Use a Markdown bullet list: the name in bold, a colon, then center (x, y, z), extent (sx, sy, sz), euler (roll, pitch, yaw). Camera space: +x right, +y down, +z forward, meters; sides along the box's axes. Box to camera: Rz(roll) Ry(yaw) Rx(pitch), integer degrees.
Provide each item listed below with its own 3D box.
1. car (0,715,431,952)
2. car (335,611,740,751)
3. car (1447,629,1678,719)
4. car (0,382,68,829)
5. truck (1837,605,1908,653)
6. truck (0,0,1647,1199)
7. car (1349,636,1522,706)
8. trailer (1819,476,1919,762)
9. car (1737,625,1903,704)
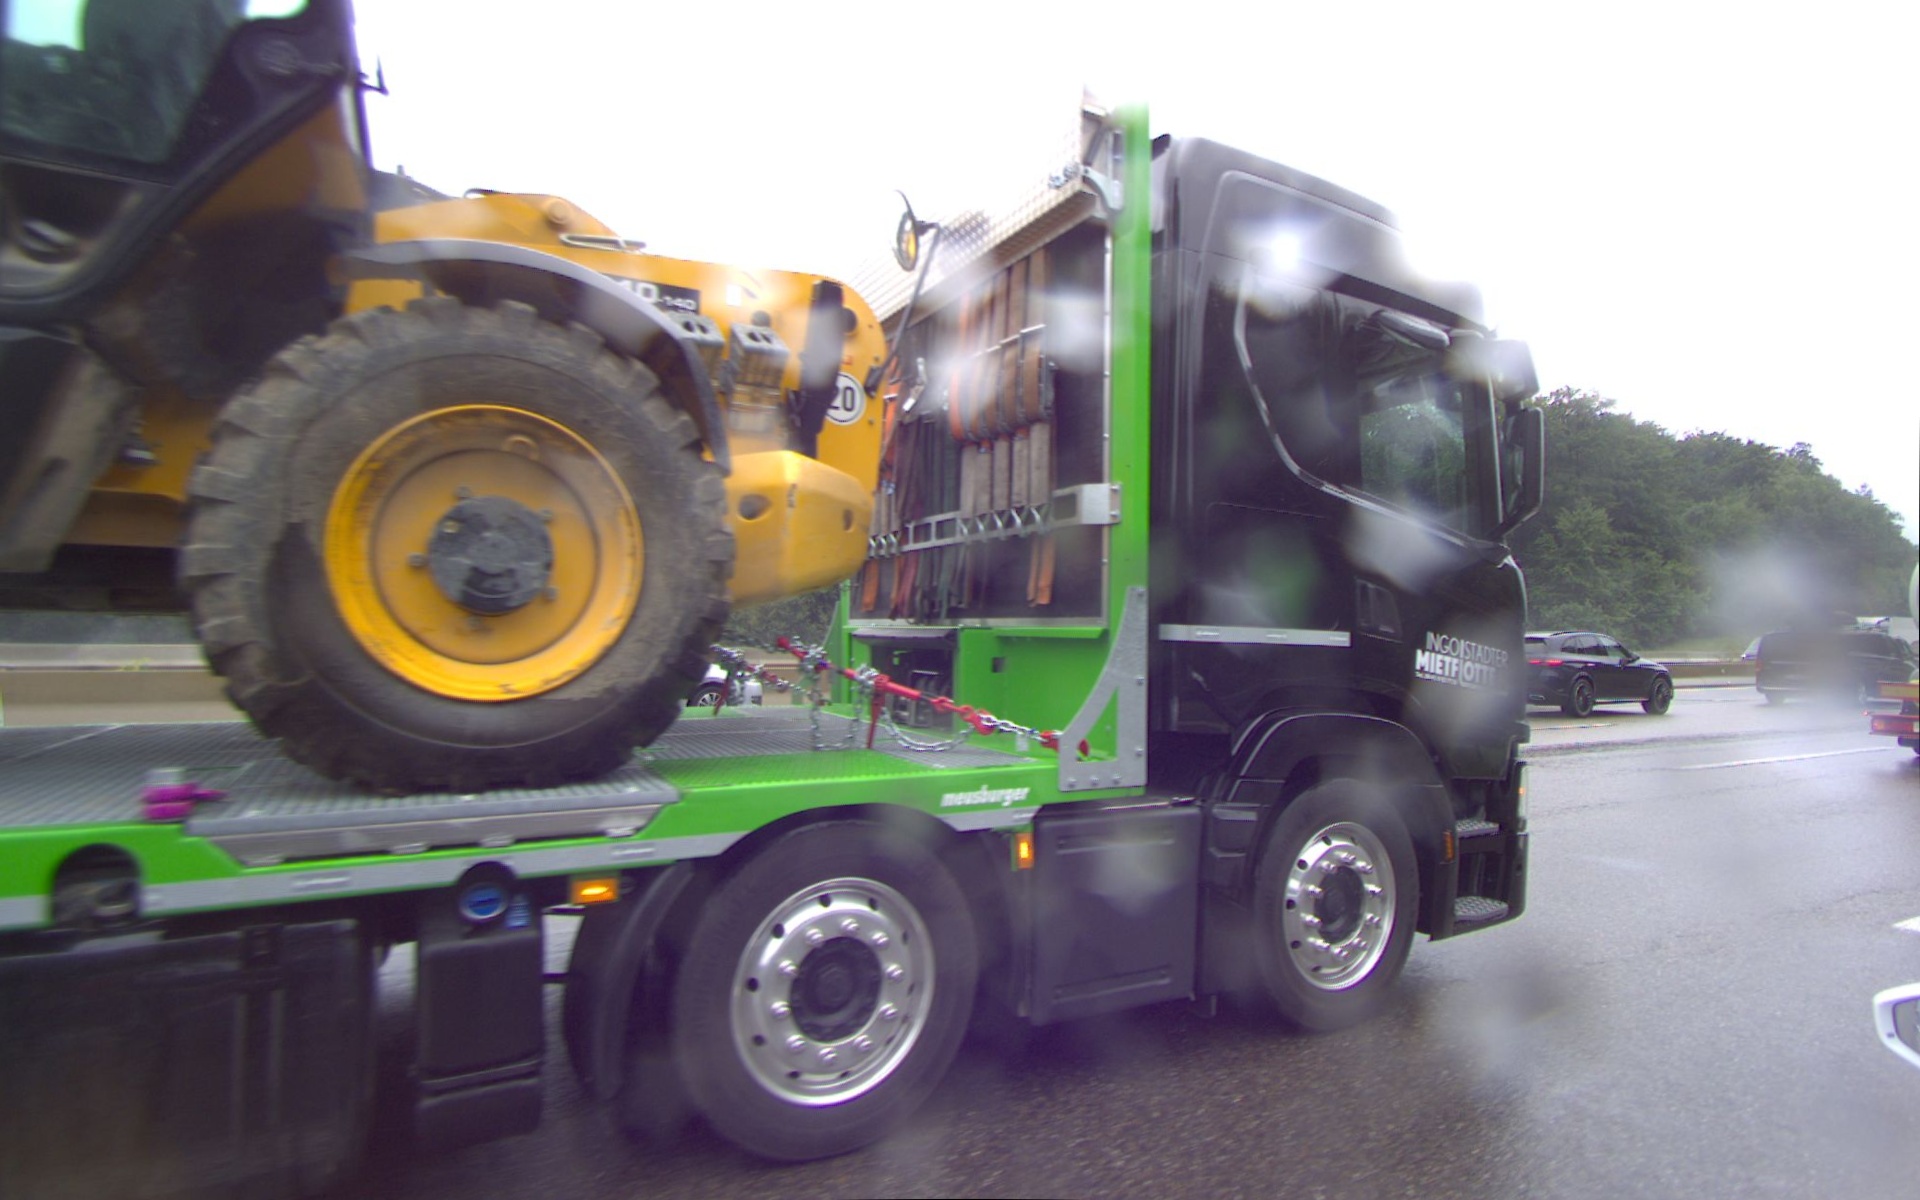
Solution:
- **car**: center (-7.811, 2.284, 10.539), extent (3.950, 1.841, 1.882), euler (2, 0, -28)
- **car**: center (-5.900, 1.076, 14.368), extent (5.022, 1.706, 1.984), euler (2, -2, -30)
- **car**: center (12.158, 1.420, 20.206), extent (4.752, 1.615, 1.984), euler (2, -2, -31)
- **car**: center (-8.221, -0.062, 4.536), extent (5.769, 2.664, 2.207), euler (3, -2, -27)
- **truck**: center (78.169, 2.514, 86.011), extent (7.153, 4.001, 2.439), euler (2, 0, -30)
- **truck**: center (-2.855, -0.426, 2.716), extent (11.652, 3.635, 2.820), euler (2, -2, -29)
- **car**: center (11.486, 1.672, 24.232), extent (3.953, 1.528, 1.874), euler (2, -2, -30)
- **trailer**: center (15.732, 0.345, 13.802), extent (9.958, 3.332, 2.860), euler (2, -1, -30)
- **car**: center (21.657, 1.585, 25.268), extent (4.106, 1.822, 1.984), euler (2, -2, -31)
